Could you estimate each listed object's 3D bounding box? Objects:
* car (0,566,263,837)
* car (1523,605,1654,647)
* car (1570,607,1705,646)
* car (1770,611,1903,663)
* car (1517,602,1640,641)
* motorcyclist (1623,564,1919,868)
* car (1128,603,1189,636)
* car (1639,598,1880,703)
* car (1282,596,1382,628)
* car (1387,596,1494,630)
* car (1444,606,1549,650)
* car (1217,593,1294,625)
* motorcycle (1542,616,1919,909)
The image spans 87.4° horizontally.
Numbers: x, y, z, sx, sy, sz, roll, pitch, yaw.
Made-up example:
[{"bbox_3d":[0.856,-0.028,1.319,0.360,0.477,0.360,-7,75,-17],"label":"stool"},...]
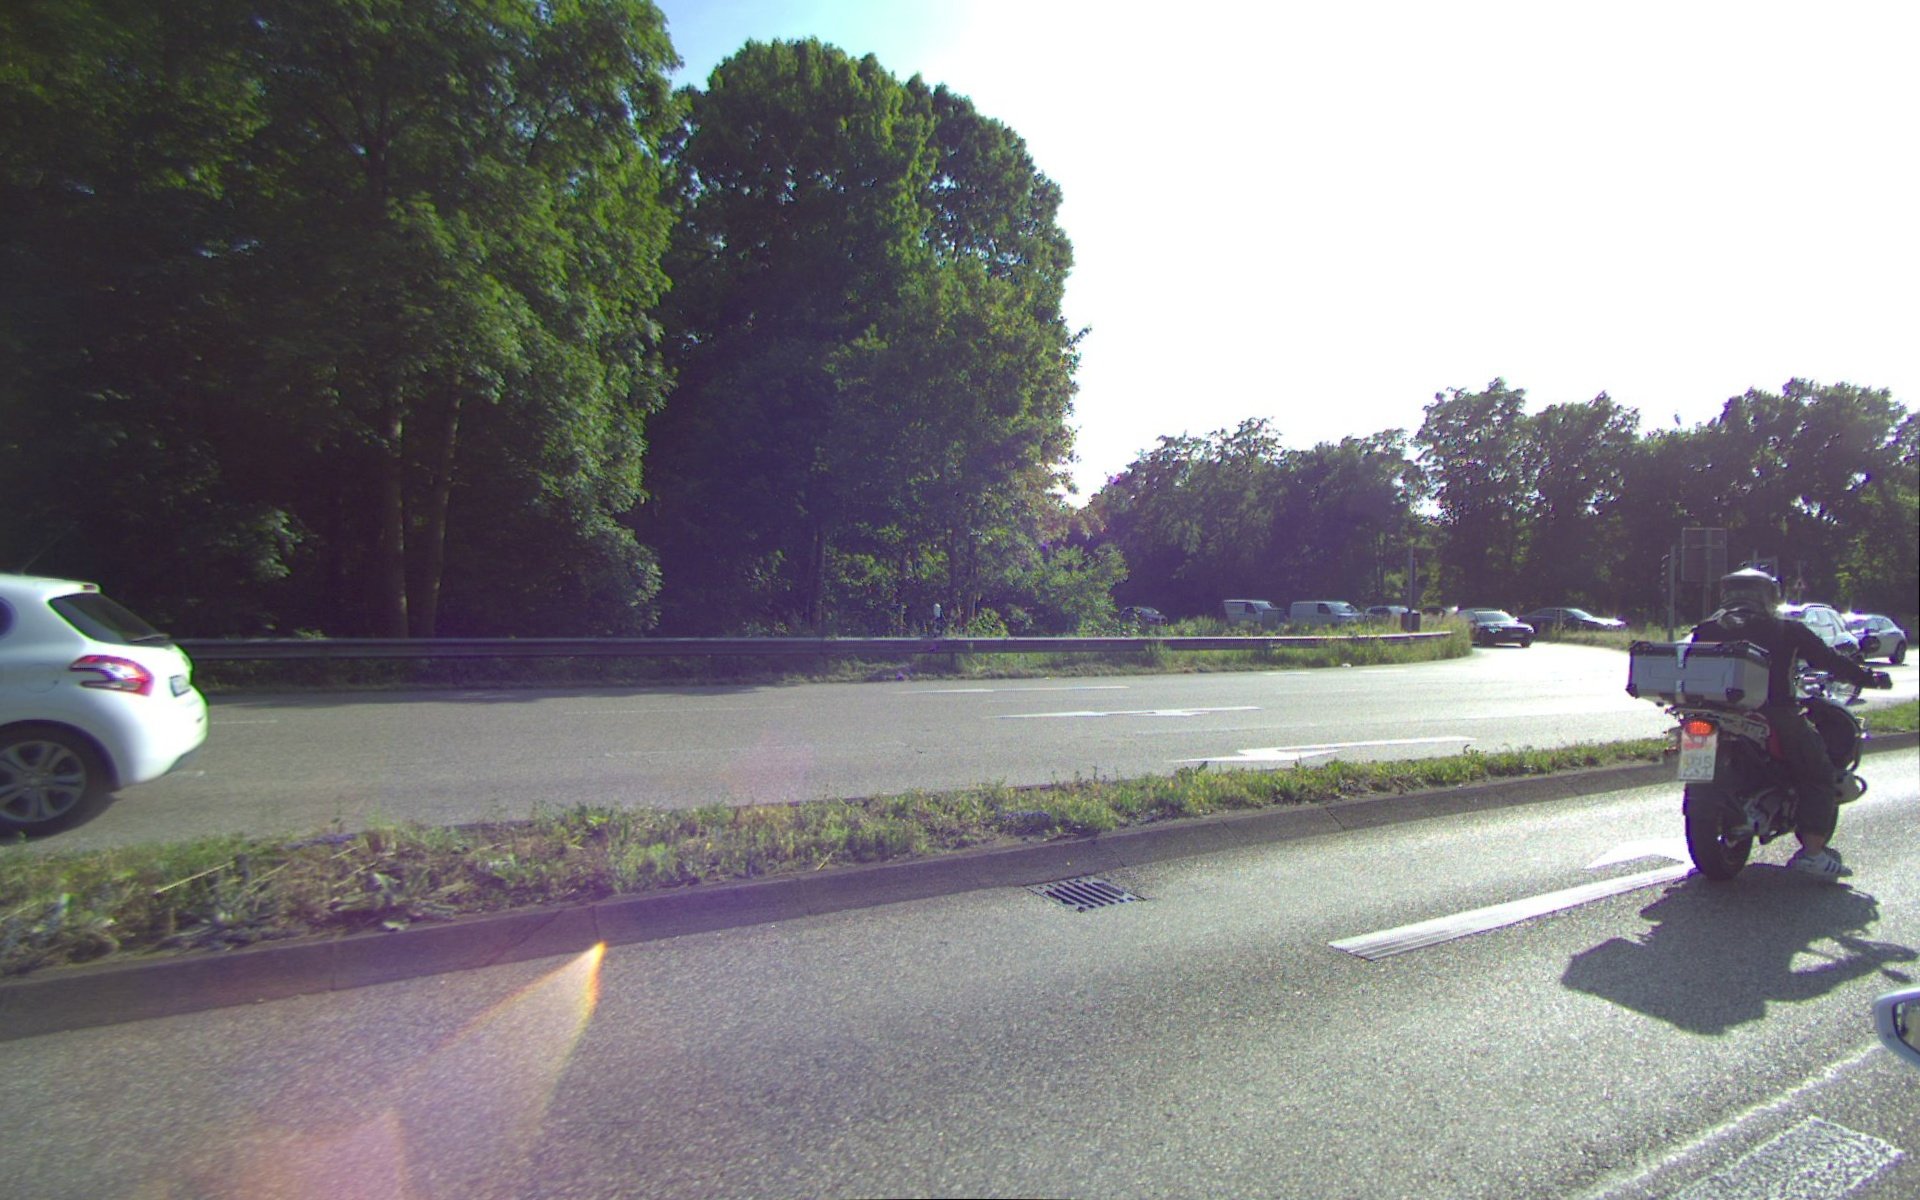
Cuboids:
[{"bbox_3d":[-6.530,0.515,5.602,4.177,1.430,1.779,1,2,-30],"label":"car"},{"bbox_3d":[26.561,1.048,42.623,1.970,1.510,4.401,1,2,-20],"label":"car"},{"bbox_3d":[31.221,1.180,46.456,2.143,1.510,4.685,1,2,-31],"label":"car"},{"bbox_3d":[27.321,1.137,31.304,4.214,1.523,1.875,1,-1,-30],"label":"car"},{"bbox_3d":[28.223,0.963,45.977,1.977,1.510,4.384,1,2,-31],"label":"car"},{"bbox_3d":[4.886,0.624,6.072,1.273,1.638,0.881,1,2,-25],"label":"motorcyclist"},{"bbox_3d":[14.221,1.389,72.173,2.159,2.124,4.629,1,2,-21],"label":"car"},{"bbox_3d":[15.338,0.914,19.235,4.700,1.787,2.066,1,-1,-30],"label":"car"},{"bbox_3d":[20.359,0.624,55.196,2.410,1.510,5.045,1,2,-21],"label":"car"},{"bbox_3d":[25.348,0.653,53.215,2.175,1.510,4.963,1,2,-21],"label":"car"},{"bbox_3d":[22.111,1.119,41.598,1.960,1.510,4.562,2,1,2],"label":"car"},{"bbox_3d":[18.087,0.537,61.774,2.159,1.750,4.629,1,2,-21],"label":"car"},{"bbox_3d":[4.823,0.849,6.056,2.652,1.472,0.906,1,-2,-25],"label":"motorcycle"}]
